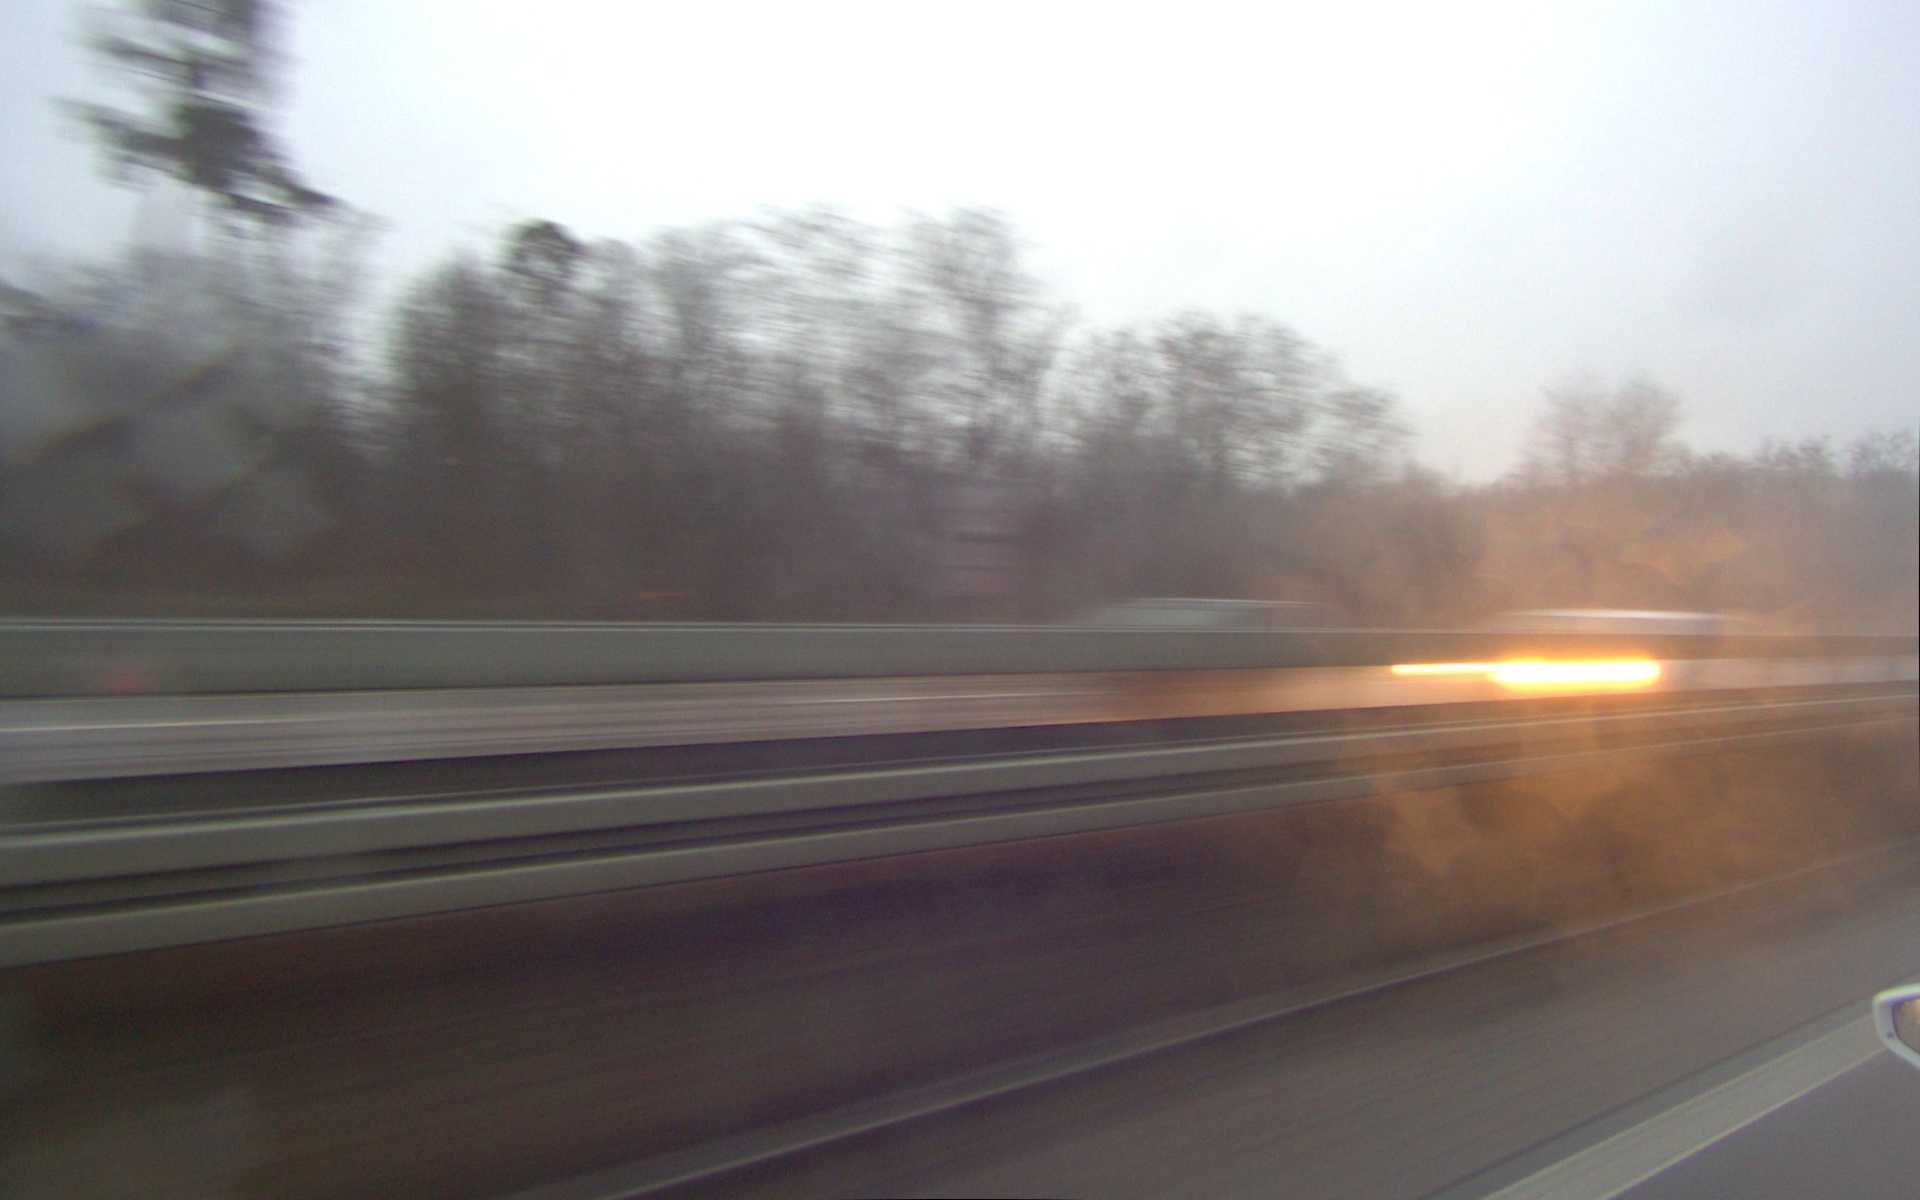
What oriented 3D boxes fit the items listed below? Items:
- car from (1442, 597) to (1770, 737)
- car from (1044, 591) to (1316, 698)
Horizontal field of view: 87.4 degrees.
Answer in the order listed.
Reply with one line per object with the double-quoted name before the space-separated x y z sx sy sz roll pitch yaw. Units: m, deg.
"car" 8.363 0.792 12.918 4.365 1.480 1.718 2 2 -30
"car" 3.307 0.637 14.880 4.006 1.415 1.491 2 -1 -30
